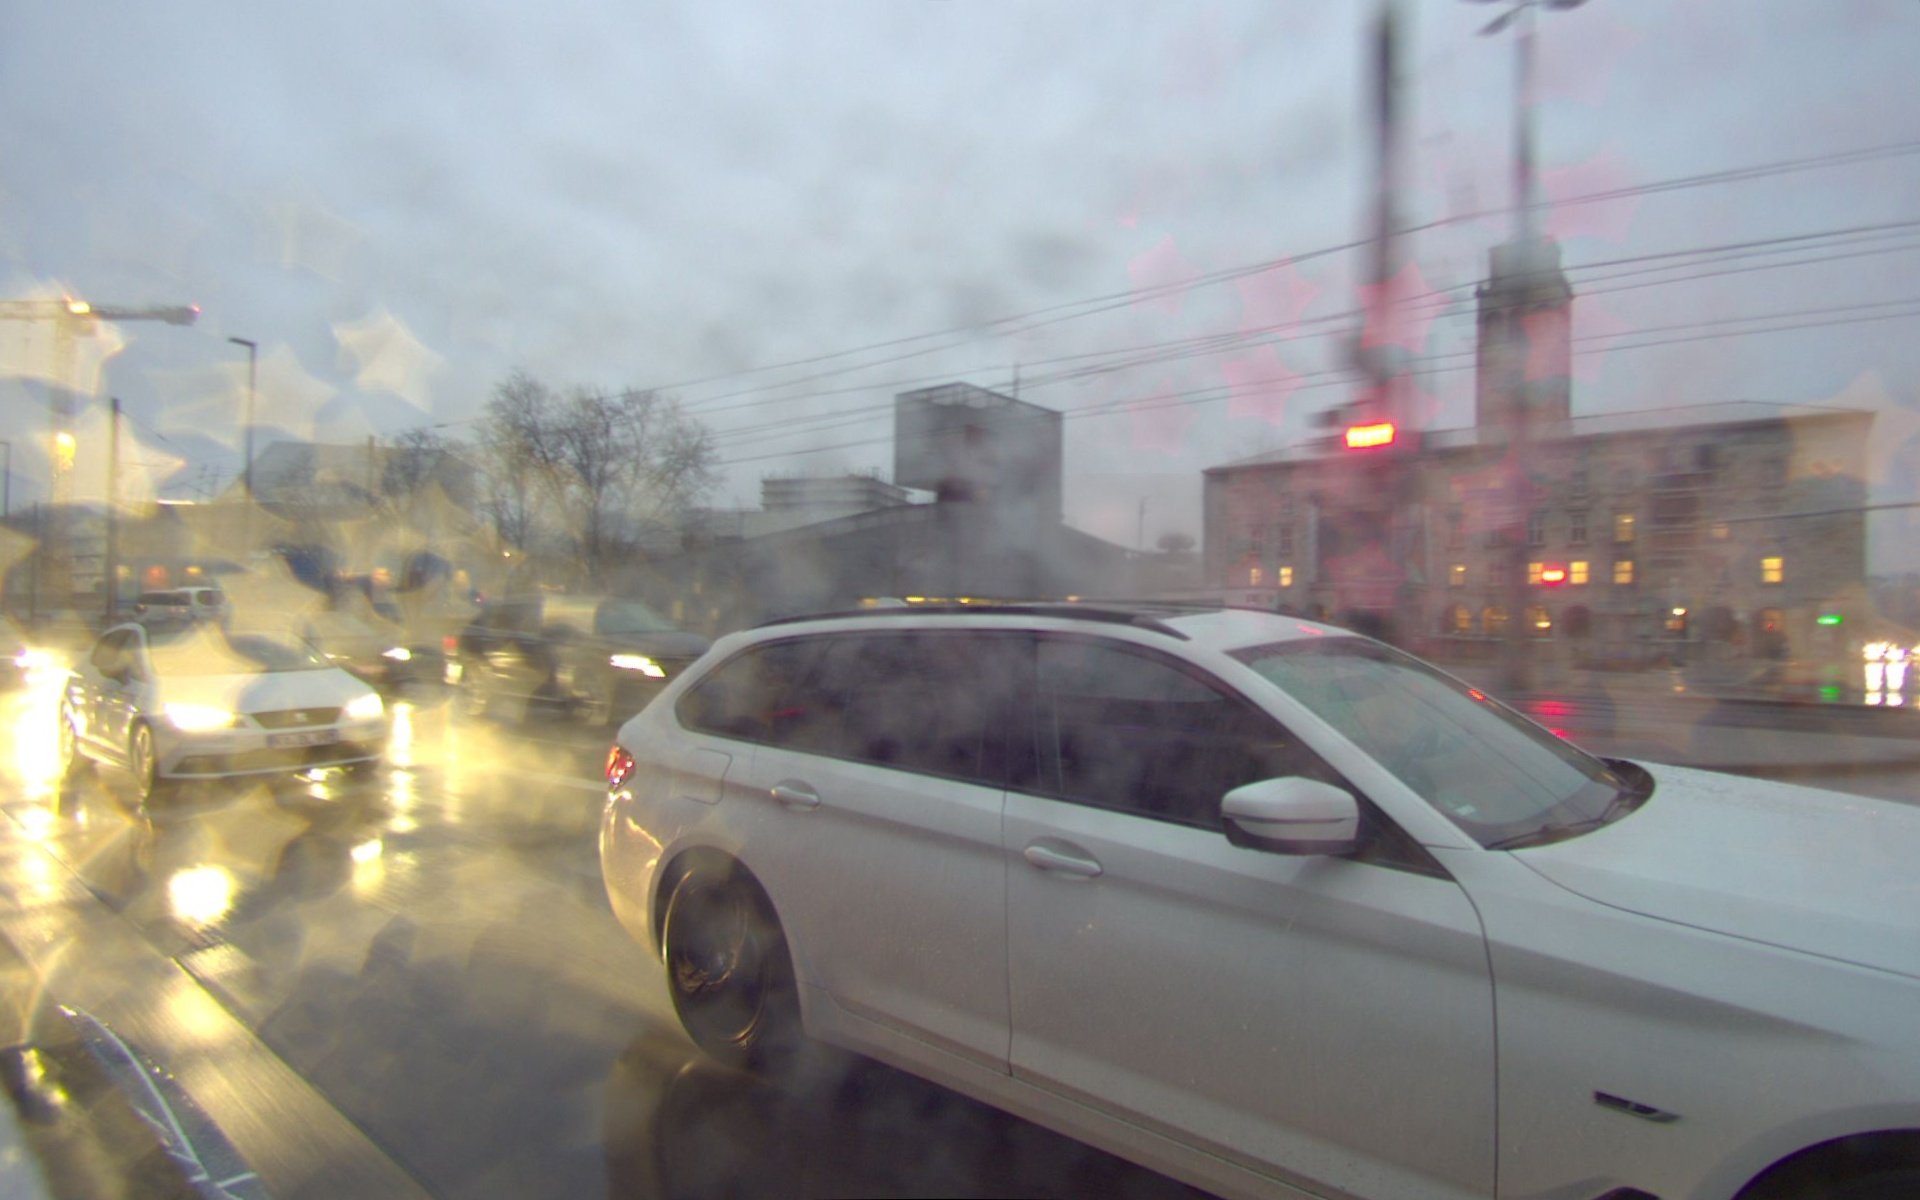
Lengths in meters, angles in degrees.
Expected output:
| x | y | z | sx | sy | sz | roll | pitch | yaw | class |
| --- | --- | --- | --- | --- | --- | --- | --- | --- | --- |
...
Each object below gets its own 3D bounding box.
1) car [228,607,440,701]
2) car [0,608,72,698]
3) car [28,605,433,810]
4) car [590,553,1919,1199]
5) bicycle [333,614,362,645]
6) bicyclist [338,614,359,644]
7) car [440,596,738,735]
| x | y | z | sx | sy | sz | roll | pitch | yaw | class |
| --- | --- | --- | --- | --- | --- | --- | --- | --- | --- |
| -11.787 | 0.923 | 18.944 | 4.656 | 1.519 | 1.831 | 0 | -1 | 37 | car |
| -17.727 | 0.884 | 18.044 | 4.498 | 1.498 | 1.975 | 0 | -2 | 37 | car |
| -7.064 | 0.813 | 9.630 | 4.498 | 1.498 | 1.926 | 0 | 0 | 37 | car |
| 1.145 | 0.715 | 2.813 | 4.554 | 1.498 | 1.998 | 0 | -2 | 39 | car |
| -36.802 | 1.740 | 60.811 | 2.060 | 1.746 | 0.754 | 1 | 1 | 37 | bicycle |
| -36.728 | 1.730 | 60.756 | 0.959 | 1.746 | 0.754 | 1 | 1 | 36 | bicyclist |
| -5.132 | 0.760 | 13.745 | 4.286 | 1.596 | 1.947 | 0 | -1 | 40 | car |
